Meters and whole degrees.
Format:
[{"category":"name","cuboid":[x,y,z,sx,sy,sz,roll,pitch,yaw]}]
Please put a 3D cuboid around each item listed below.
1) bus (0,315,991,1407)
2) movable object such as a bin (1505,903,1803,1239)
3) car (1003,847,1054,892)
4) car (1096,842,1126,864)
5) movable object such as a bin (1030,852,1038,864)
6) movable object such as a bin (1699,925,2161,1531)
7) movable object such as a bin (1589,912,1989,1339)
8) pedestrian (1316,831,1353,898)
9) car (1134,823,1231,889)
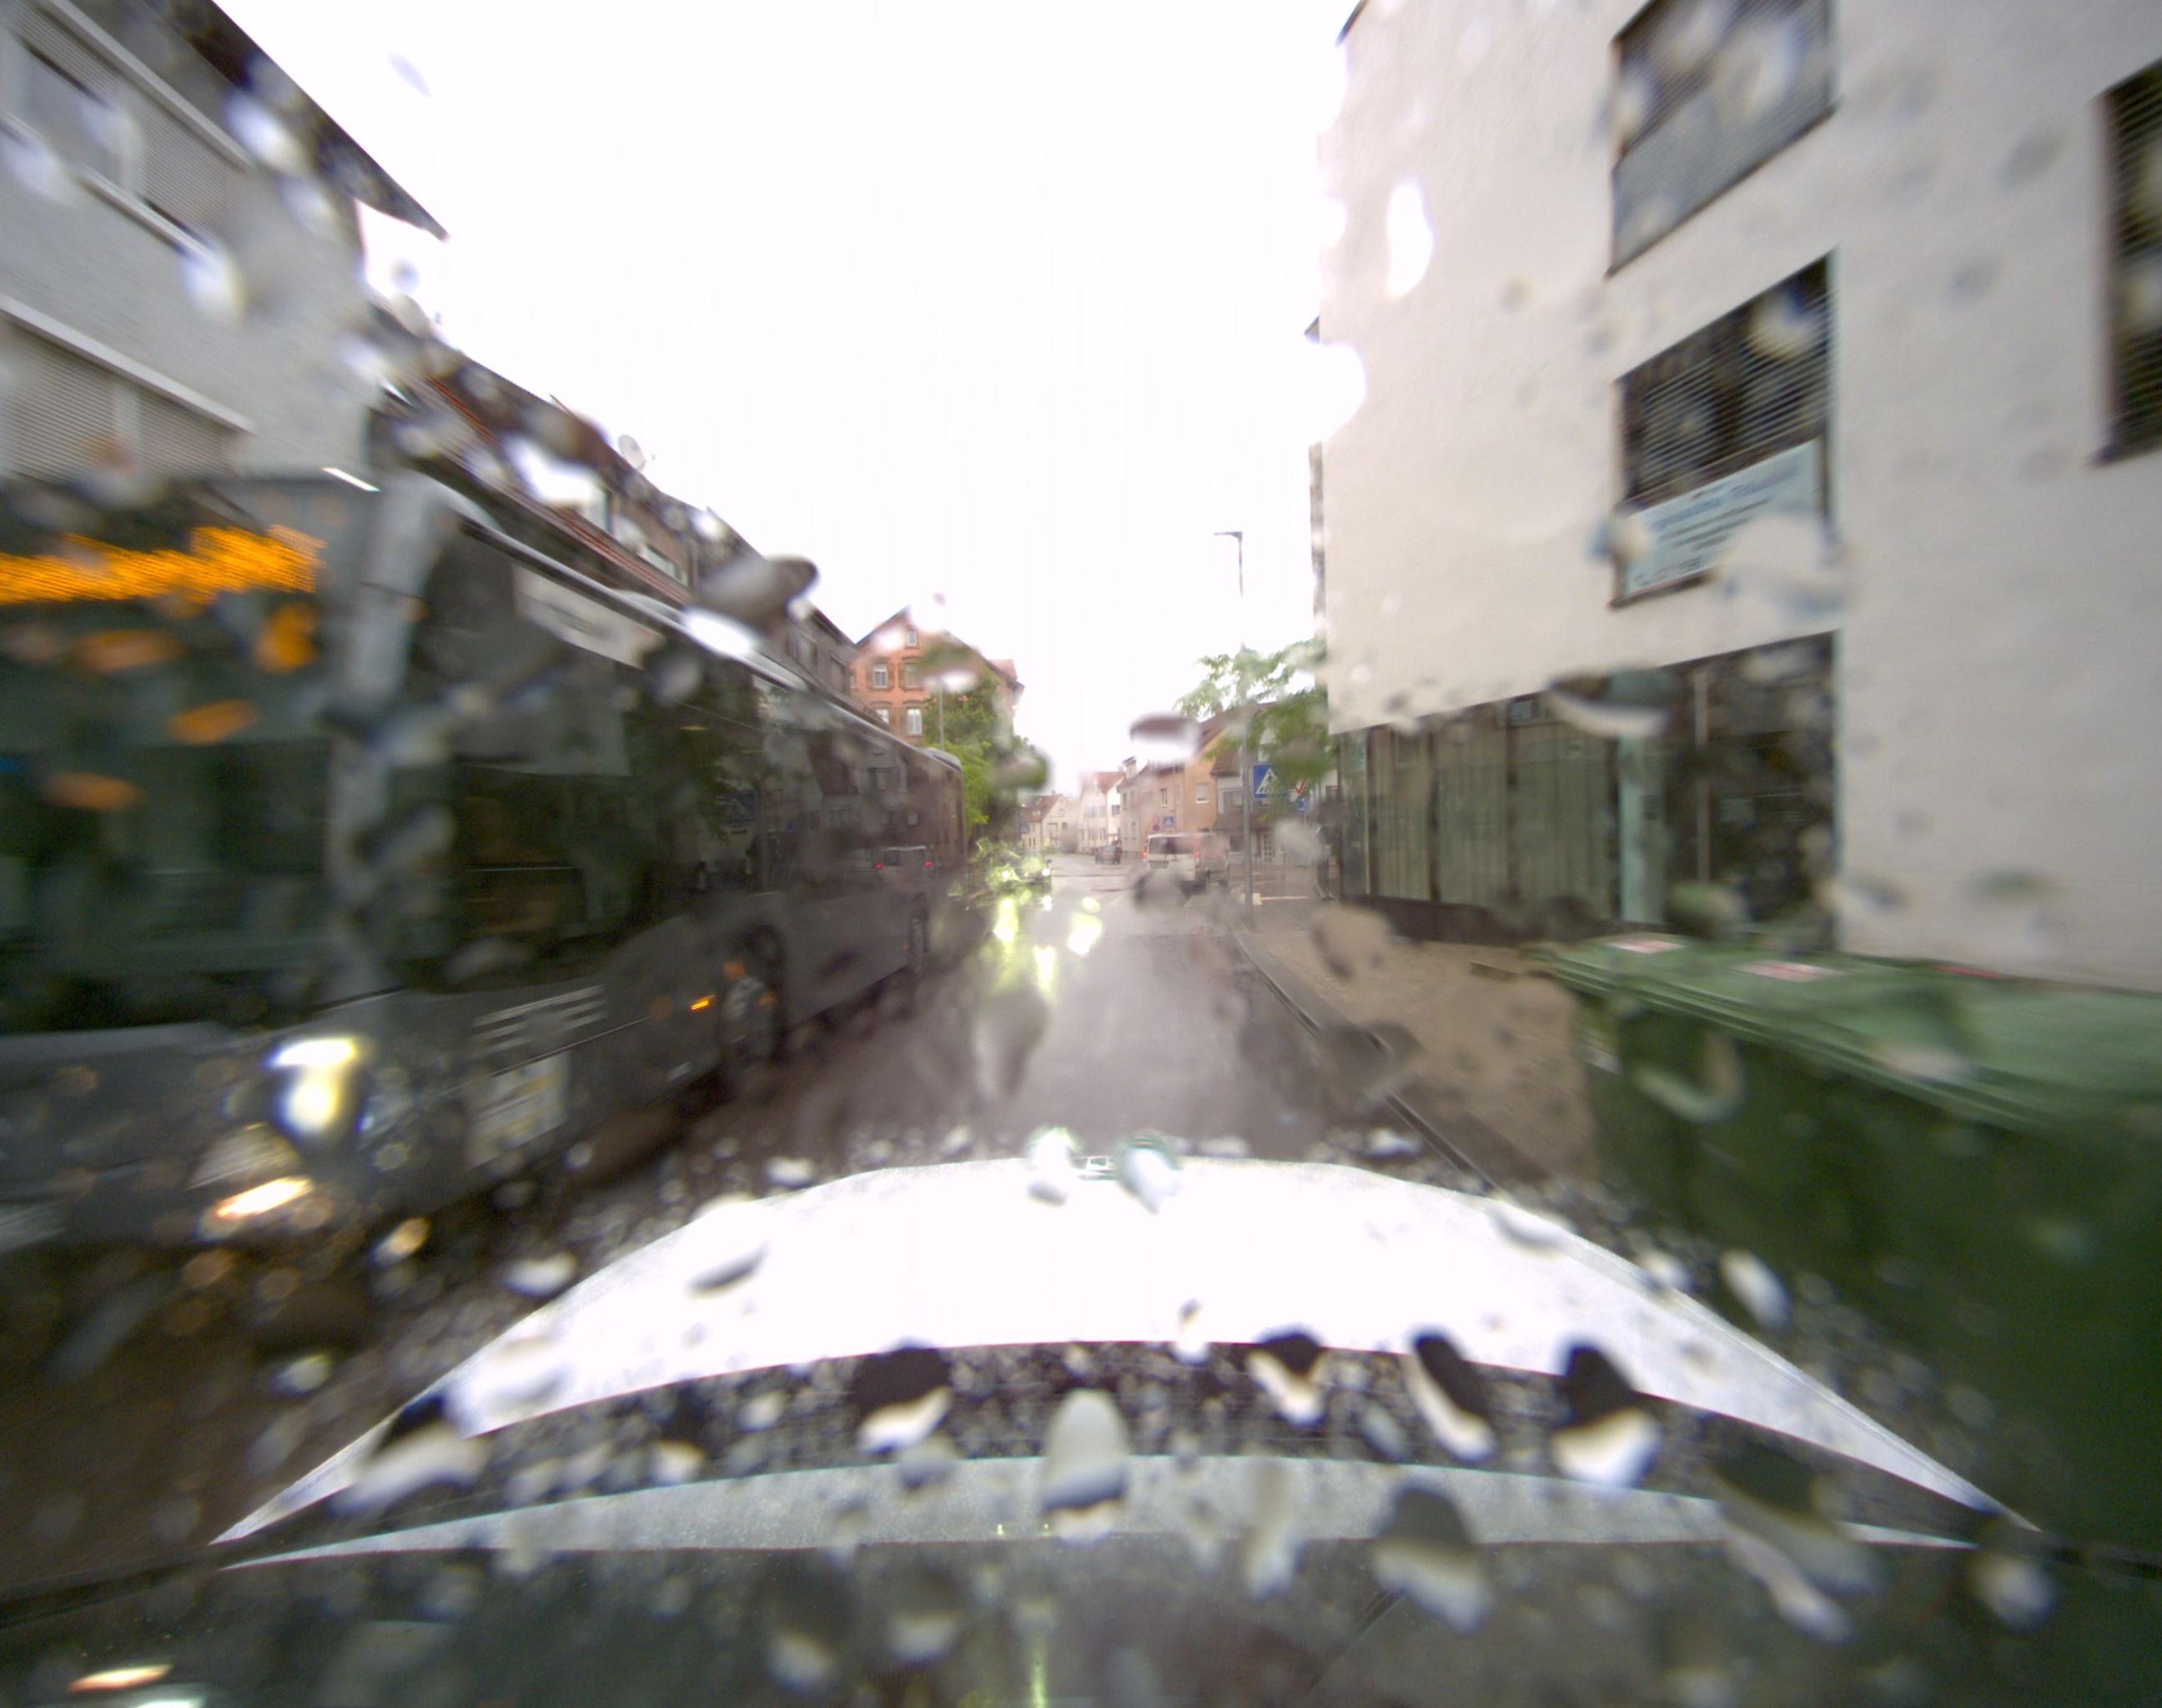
[{"category":"bus","cuboid":[-3.109,-0.001,7.807,2.712,3.079,10.954,-1,0,3]},{"category":"movable object such as a bin","cuboid":[2.135,0.772,3.111,0.721,1.118,0.577,-1,0,2]},{"category":"car","cuboid":[-1.833,0.496,29.415,1.661,1.430,4.466,-1,1,-2]},{"category":"car","cuboid":[2.364,-0.037,65.353,1.969,1.679,4.062,-1,0,-4]},{"category":"movable object such as a bin","cuboid":[-4.330,0.367,74.754,0.627,1.173,0.759,0,0,-11]},{"category":"movable object such as a bin","cuboid":[2.065,0.763,1.904,0.758,1.118,0.624,-1,0,2]},{"category":"movable object such as a bin","cuboid":[2.114,0.767,2.517,0.721,1.118,0.577,-1,0,2]},{"category":"pedestrian","cuboid":[6.282,0.246,20.241,0.581,1.606,0.702,-3,0,-5]},{"category":"car","cuboid":[3.424,0.076,26.430,2.135,1.898,4.949,-1,0,19]}]
